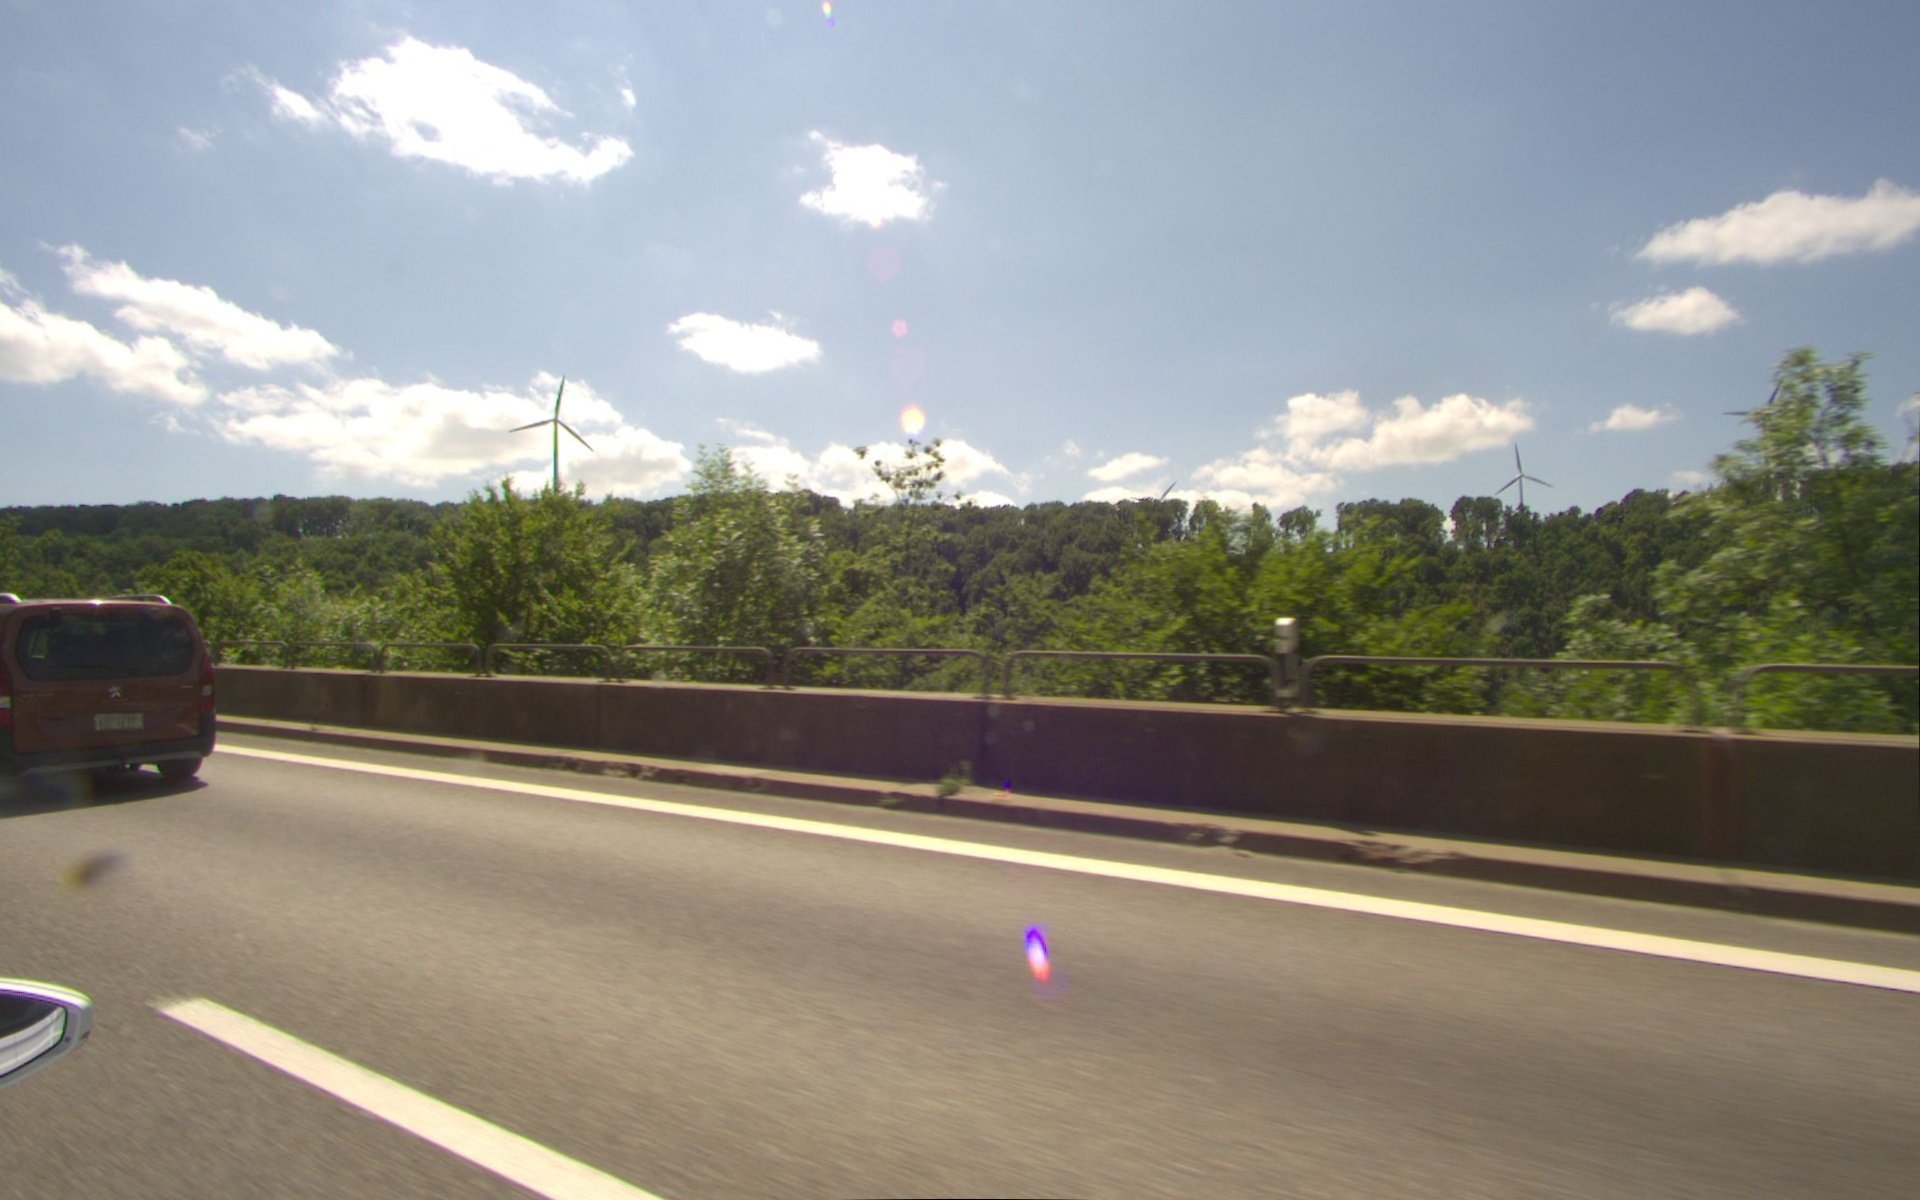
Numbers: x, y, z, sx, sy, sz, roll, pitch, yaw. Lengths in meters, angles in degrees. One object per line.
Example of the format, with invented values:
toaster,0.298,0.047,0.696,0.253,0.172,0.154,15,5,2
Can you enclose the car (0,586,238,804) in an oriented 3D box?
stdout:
car,-9.518,0.852,10.234,4.608,1.807,1.830,-1,-1,31
